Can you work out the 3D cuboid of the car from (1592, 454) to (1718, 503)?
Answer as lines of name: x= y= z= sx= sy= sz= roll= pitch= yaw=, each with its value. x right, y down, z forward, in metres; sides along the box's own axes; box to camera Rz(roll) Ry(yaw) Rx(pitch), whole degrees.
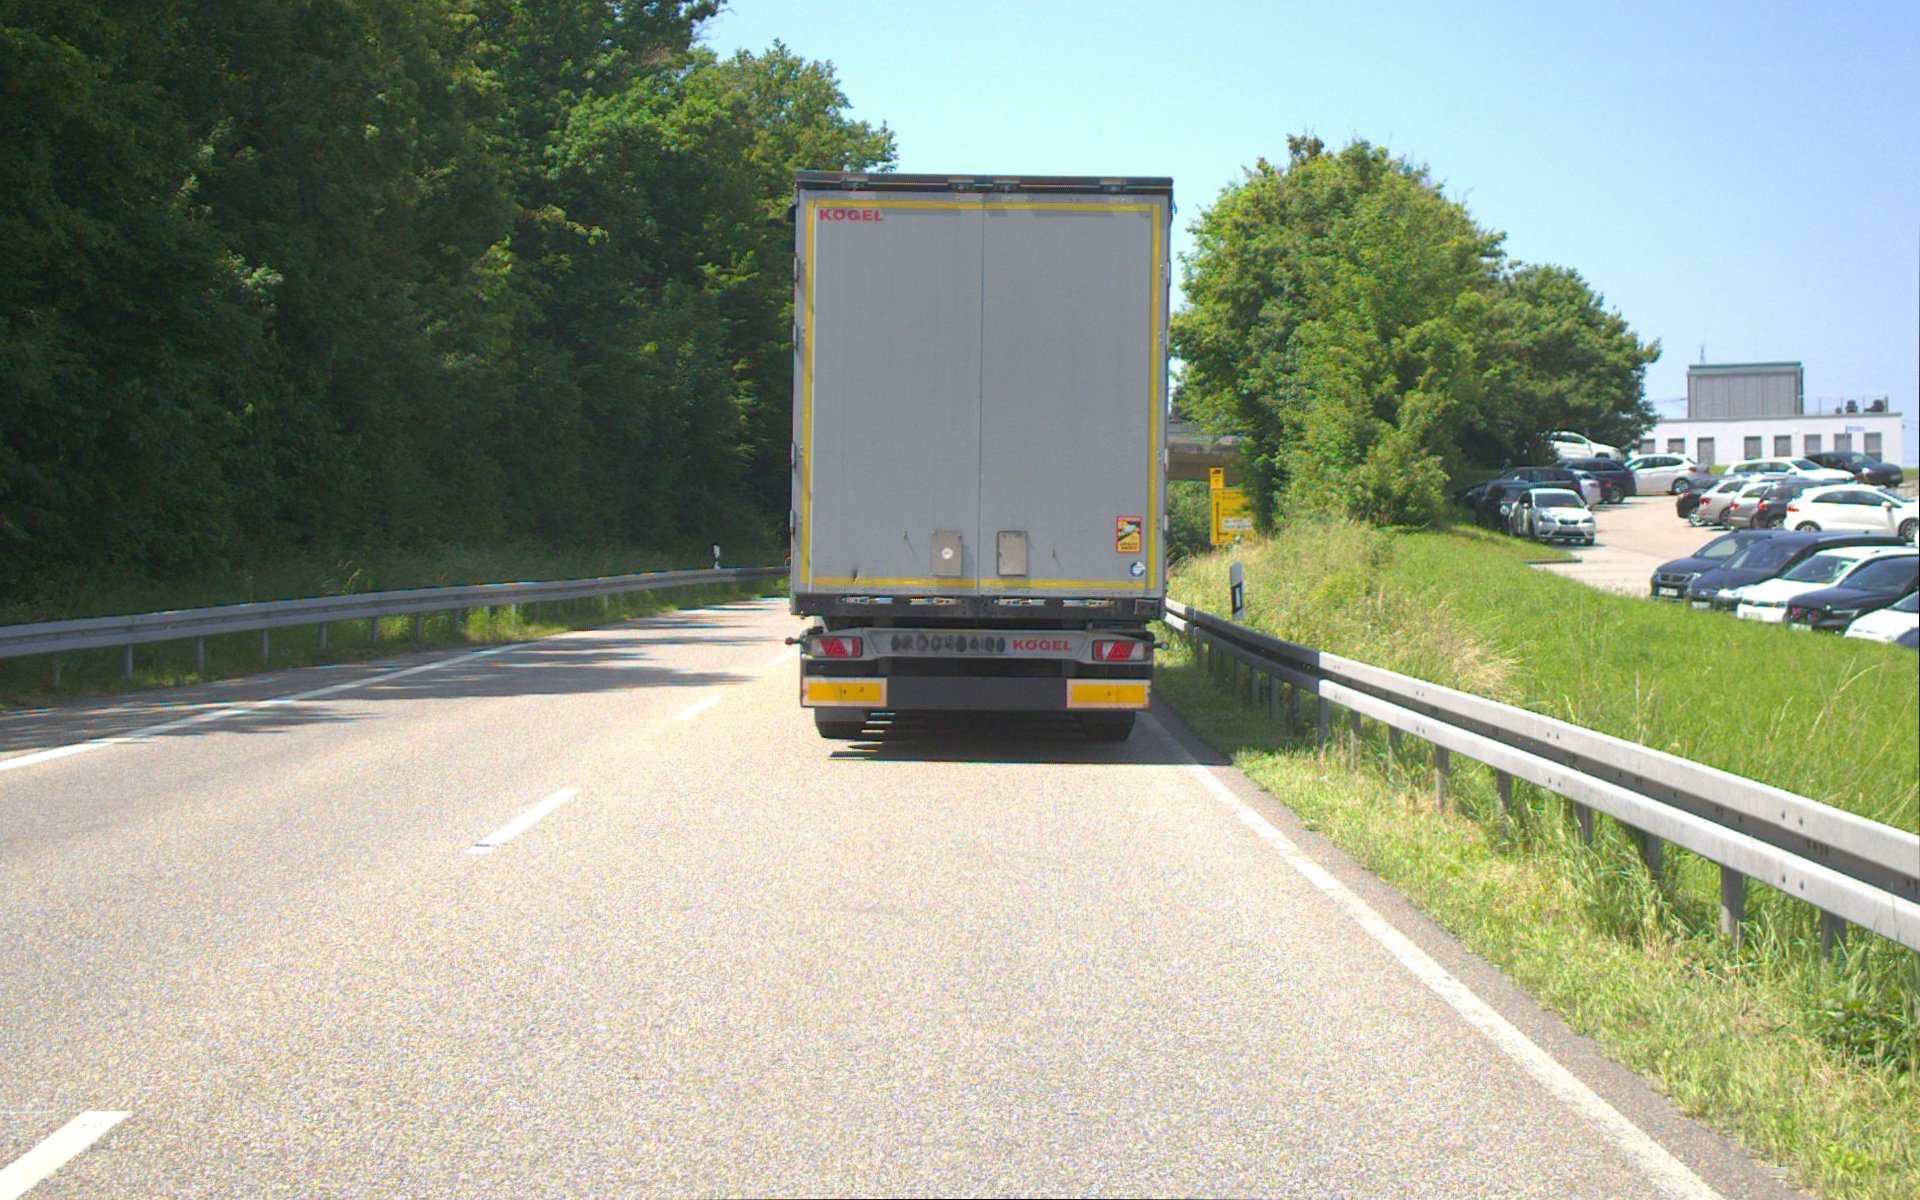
car: x=26.026 y=-4.559 z=128.729 sx=4.362 sy=1.679 sz=1.889 roll=-1 pitch=6 yaw=-28

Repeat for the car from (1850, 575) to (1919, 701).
car: x=15.219 y=0.628 z=50.126 sx=4.363 sy=1.679 sz=1.888 roll=2 pitch=4 yaw=-37

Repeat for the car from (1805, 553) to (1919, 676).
car: x=15.505 y=0.295 z=53.367 sx=4.362 sy=1.679 sz=1.889 roll=3 pitch=4 yaw=-28

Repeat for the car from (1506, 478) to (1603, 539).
car: x=15.744 y=-2.432 z=91.181 sx=1.624 sy=1.349 sz=3.712 roll=4 pitch=3 yaw=-4

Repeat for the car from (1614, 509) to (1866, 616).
car: x=14.837 y=-0.709 z=65.373 sx=4.362 sy=1.679 sz=1.889 roll=3 pitch=4 yaw=-28

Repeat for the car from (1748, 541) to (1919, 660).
car: x=15.238 y=0.057 z=56.068 sx=4.362 sy=1.679 sz=1.889 roll=3 pitch=4 yaw=-28

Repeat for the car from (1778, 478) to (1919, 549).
car: x=23.094 y=-2.154 z=86.591 sx=4.577 sy=1.623 sz=1.819 roll=3 pitch=3 yaw=21

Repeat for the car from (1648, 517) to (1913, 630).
car: x=14.826 y=-0.475 z=62.114 sx=4.362 sy=1.679 sz=1.889 roll=3 pitch=4 yaw=-28

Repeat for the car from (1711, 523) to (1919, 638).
car: x=15.355 y=-0.308 z=59.365 sx=4.362 sy=1.679 sz=1.889 roll=3 pitch=4 yaw=-28

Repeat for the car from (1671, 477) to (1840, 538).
car: x=23.467 y=-2.736 z=101.418 sx=4.577 sy=1.623 sz=1.818 roll=2 pitch=1 yaw=21

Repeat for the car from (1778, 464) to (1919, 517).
car: x=29.690 y=-3.637 z=113.971 sx=4.581 sy=1.623 sz=1.817 roll=3 pitch=2 yaw=35

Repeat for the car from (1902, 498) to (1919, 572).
car: x=23.735 y=-1.271 z=77.239 sx=4.579 sy=1.623 sz=1.818 roll=6 pitch=4 yaw=27

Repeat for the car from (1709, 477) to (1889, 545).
car: x=23.326 y=-2.487 z=95.576 sx=4.577 sy=1.623 sz=1.819 roll=4 pitch=4 yaw=21

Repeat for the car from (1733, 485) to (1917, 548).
car: x=23.243 y=-2.257 z=92.349 sx=4.576 sy=1.623 sz=1.819 roll=1 pitch=2 yaw=21

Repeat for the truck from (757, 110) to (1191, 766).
truck: x=0.078 y=-1.187 z=27.742 sx=2.866 sy=4.344 sz=9.789 roll=0 pitch=1 yaw=0

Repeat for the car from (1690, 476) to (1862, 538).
car: x=23.406 y=-2.670 z=98.597 sx=4.576 sy=1.623 sz=1.818 roll=2 pitch=0 yaw=21

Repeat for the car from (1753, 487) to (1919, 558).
car: x=23.089 y=-2.021 z=89.263 sx=4.577 sy=1.623 sz=1.819 roll=4 pitch=3 yaw=21
